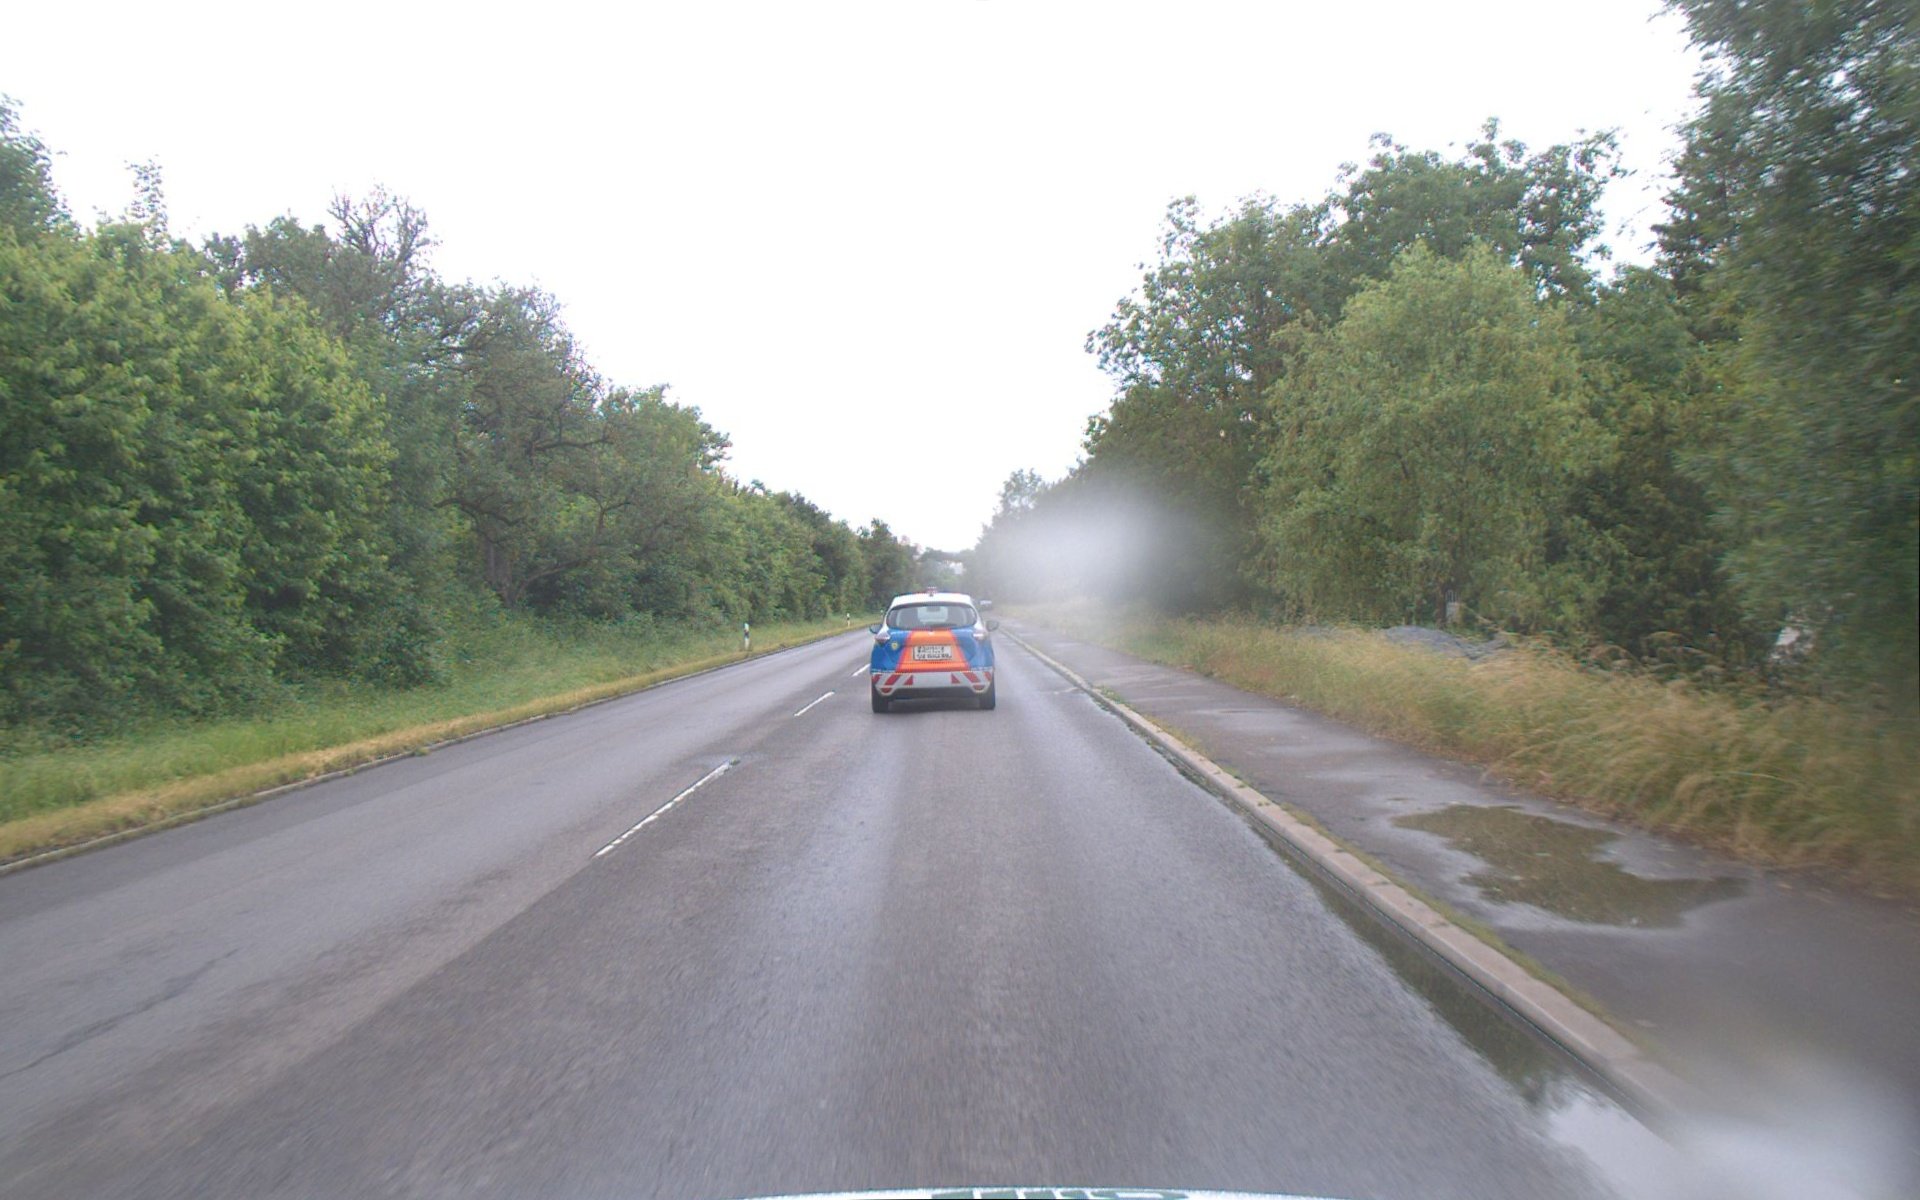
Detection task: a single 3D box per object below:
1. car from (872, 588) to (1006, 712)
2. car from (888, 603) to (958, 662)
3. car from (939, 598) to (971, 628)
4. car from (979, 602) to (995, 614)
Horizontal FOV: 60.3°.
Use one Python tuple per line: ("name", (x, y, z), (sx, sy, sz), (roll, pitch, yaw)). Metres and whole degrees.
("car", (-0.286, 0.637, 23.516), (1.716, 1.583, 3.792), (-1, 0, 0))
("car", (-0.876, 0.777, 40.907), (1.566, 1.309, 3.476), (-3, 0, 1))
("car", (-0.280, 0.825, 105.381), (1.902, 1.753, 4.063), (-3, 0, 0))
("car", (3.443, 1.000, 212.663), (1.953, 1.400, 4.000), (-3, 0, 1))
